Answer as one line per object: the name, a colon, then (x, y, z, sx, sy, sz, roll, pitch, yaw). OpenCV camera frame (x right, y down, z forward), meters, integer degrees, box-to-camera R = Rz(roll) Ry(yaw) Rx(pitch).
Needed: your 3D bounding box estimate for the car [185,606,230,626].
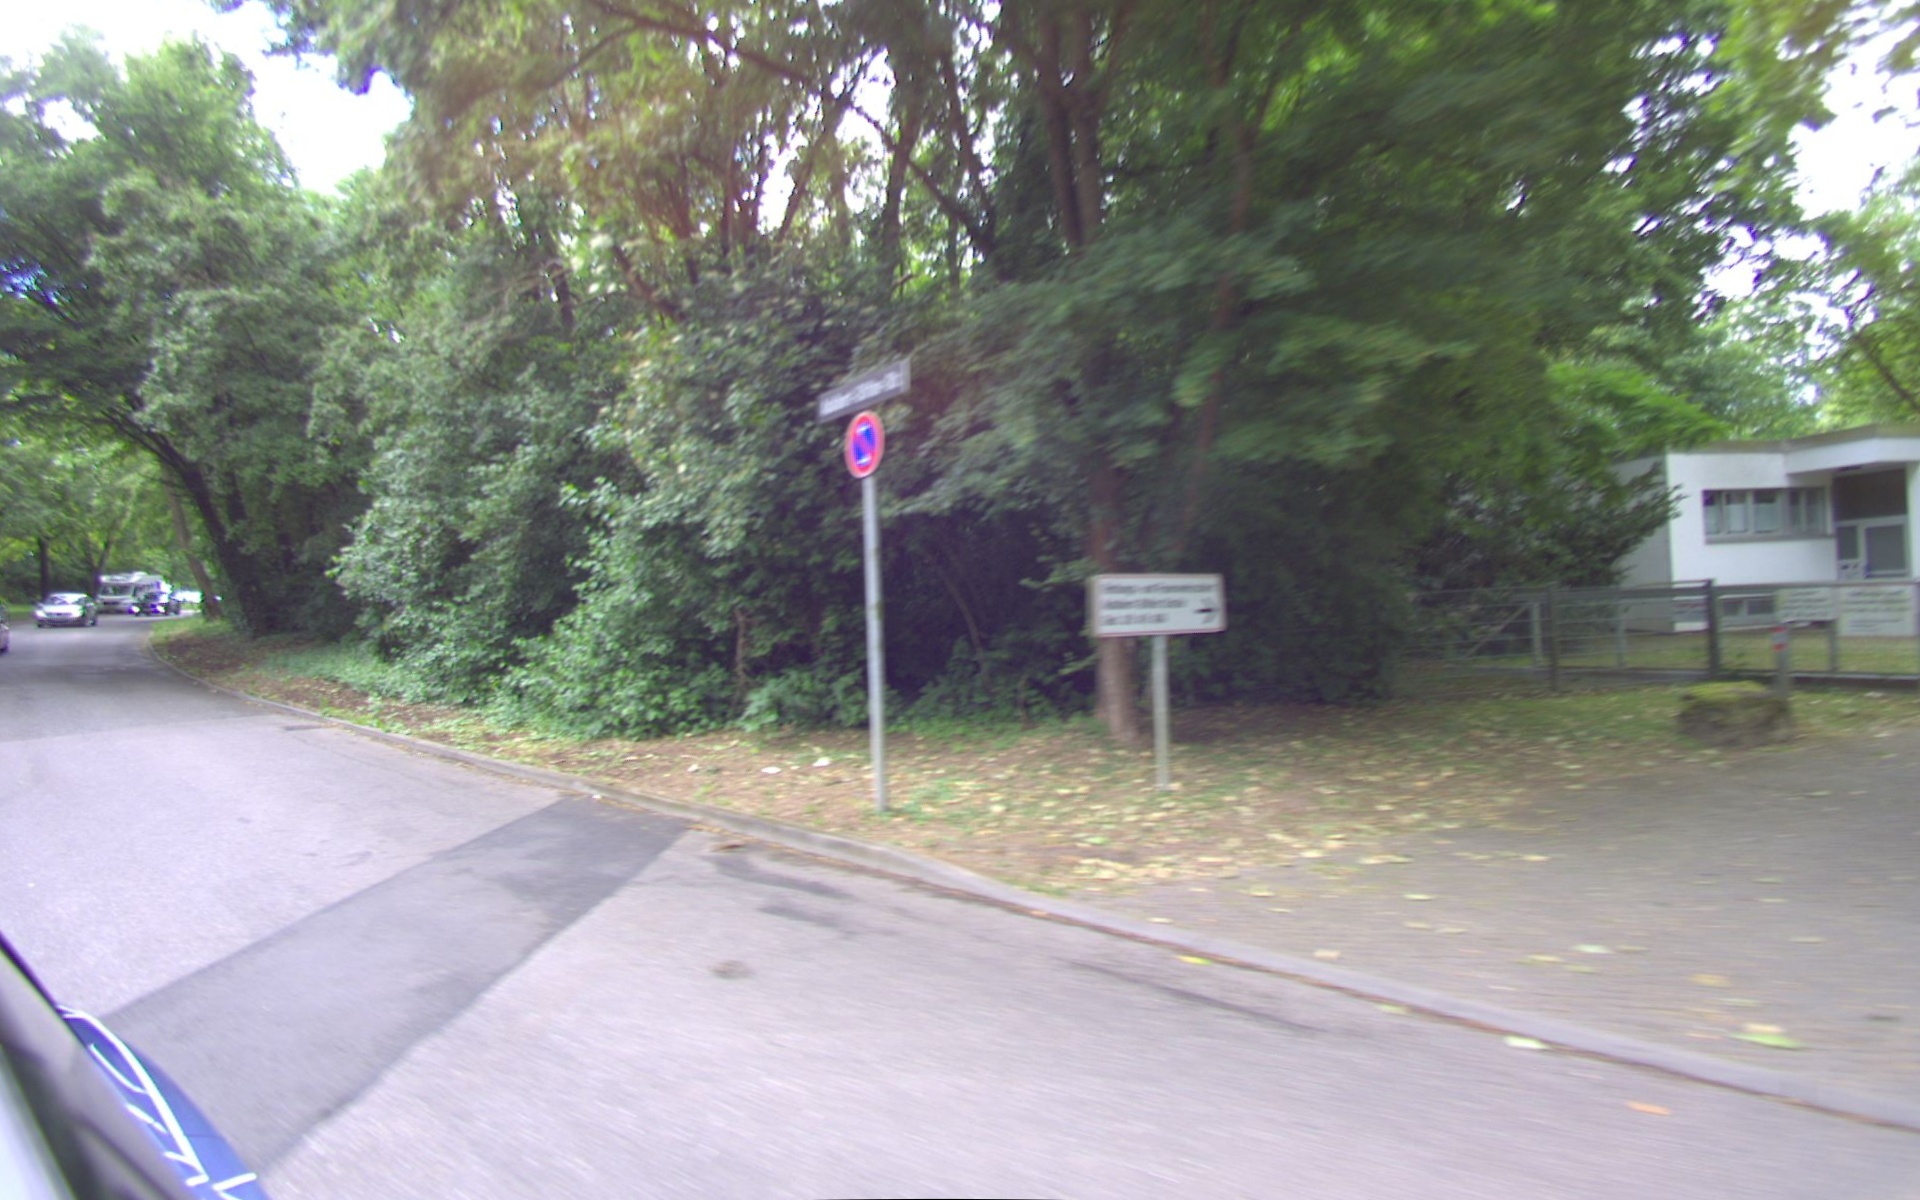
car: (-61.503, 1.280, 82.749, 1.739, 1.580, 4.058, -1, 1, -19)

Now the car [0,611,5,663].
car: (-29.805, 1.088, 29.707, 4.671, 1.483, 1.934, -1, 1, 39)

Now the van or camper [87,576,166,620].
van or camper: (-60.814, -0.164, 74.028, 2.390, 3.002, 7.418, -1, 1, -23)

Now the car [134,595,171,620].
car: (-53.789, 0.493, 67.485, 1.740, 1.580, 4.055, -1, 1, -37)

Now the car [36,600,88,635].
car: (-43.438, 0.836, 49.003, 1.629, 1.580, 4.053, -2, 1, -39)

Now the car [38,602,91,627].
car: (-55.765, 0.870, 63.097, 1.665, 1.493, 4.119, -1, 1, -30)
